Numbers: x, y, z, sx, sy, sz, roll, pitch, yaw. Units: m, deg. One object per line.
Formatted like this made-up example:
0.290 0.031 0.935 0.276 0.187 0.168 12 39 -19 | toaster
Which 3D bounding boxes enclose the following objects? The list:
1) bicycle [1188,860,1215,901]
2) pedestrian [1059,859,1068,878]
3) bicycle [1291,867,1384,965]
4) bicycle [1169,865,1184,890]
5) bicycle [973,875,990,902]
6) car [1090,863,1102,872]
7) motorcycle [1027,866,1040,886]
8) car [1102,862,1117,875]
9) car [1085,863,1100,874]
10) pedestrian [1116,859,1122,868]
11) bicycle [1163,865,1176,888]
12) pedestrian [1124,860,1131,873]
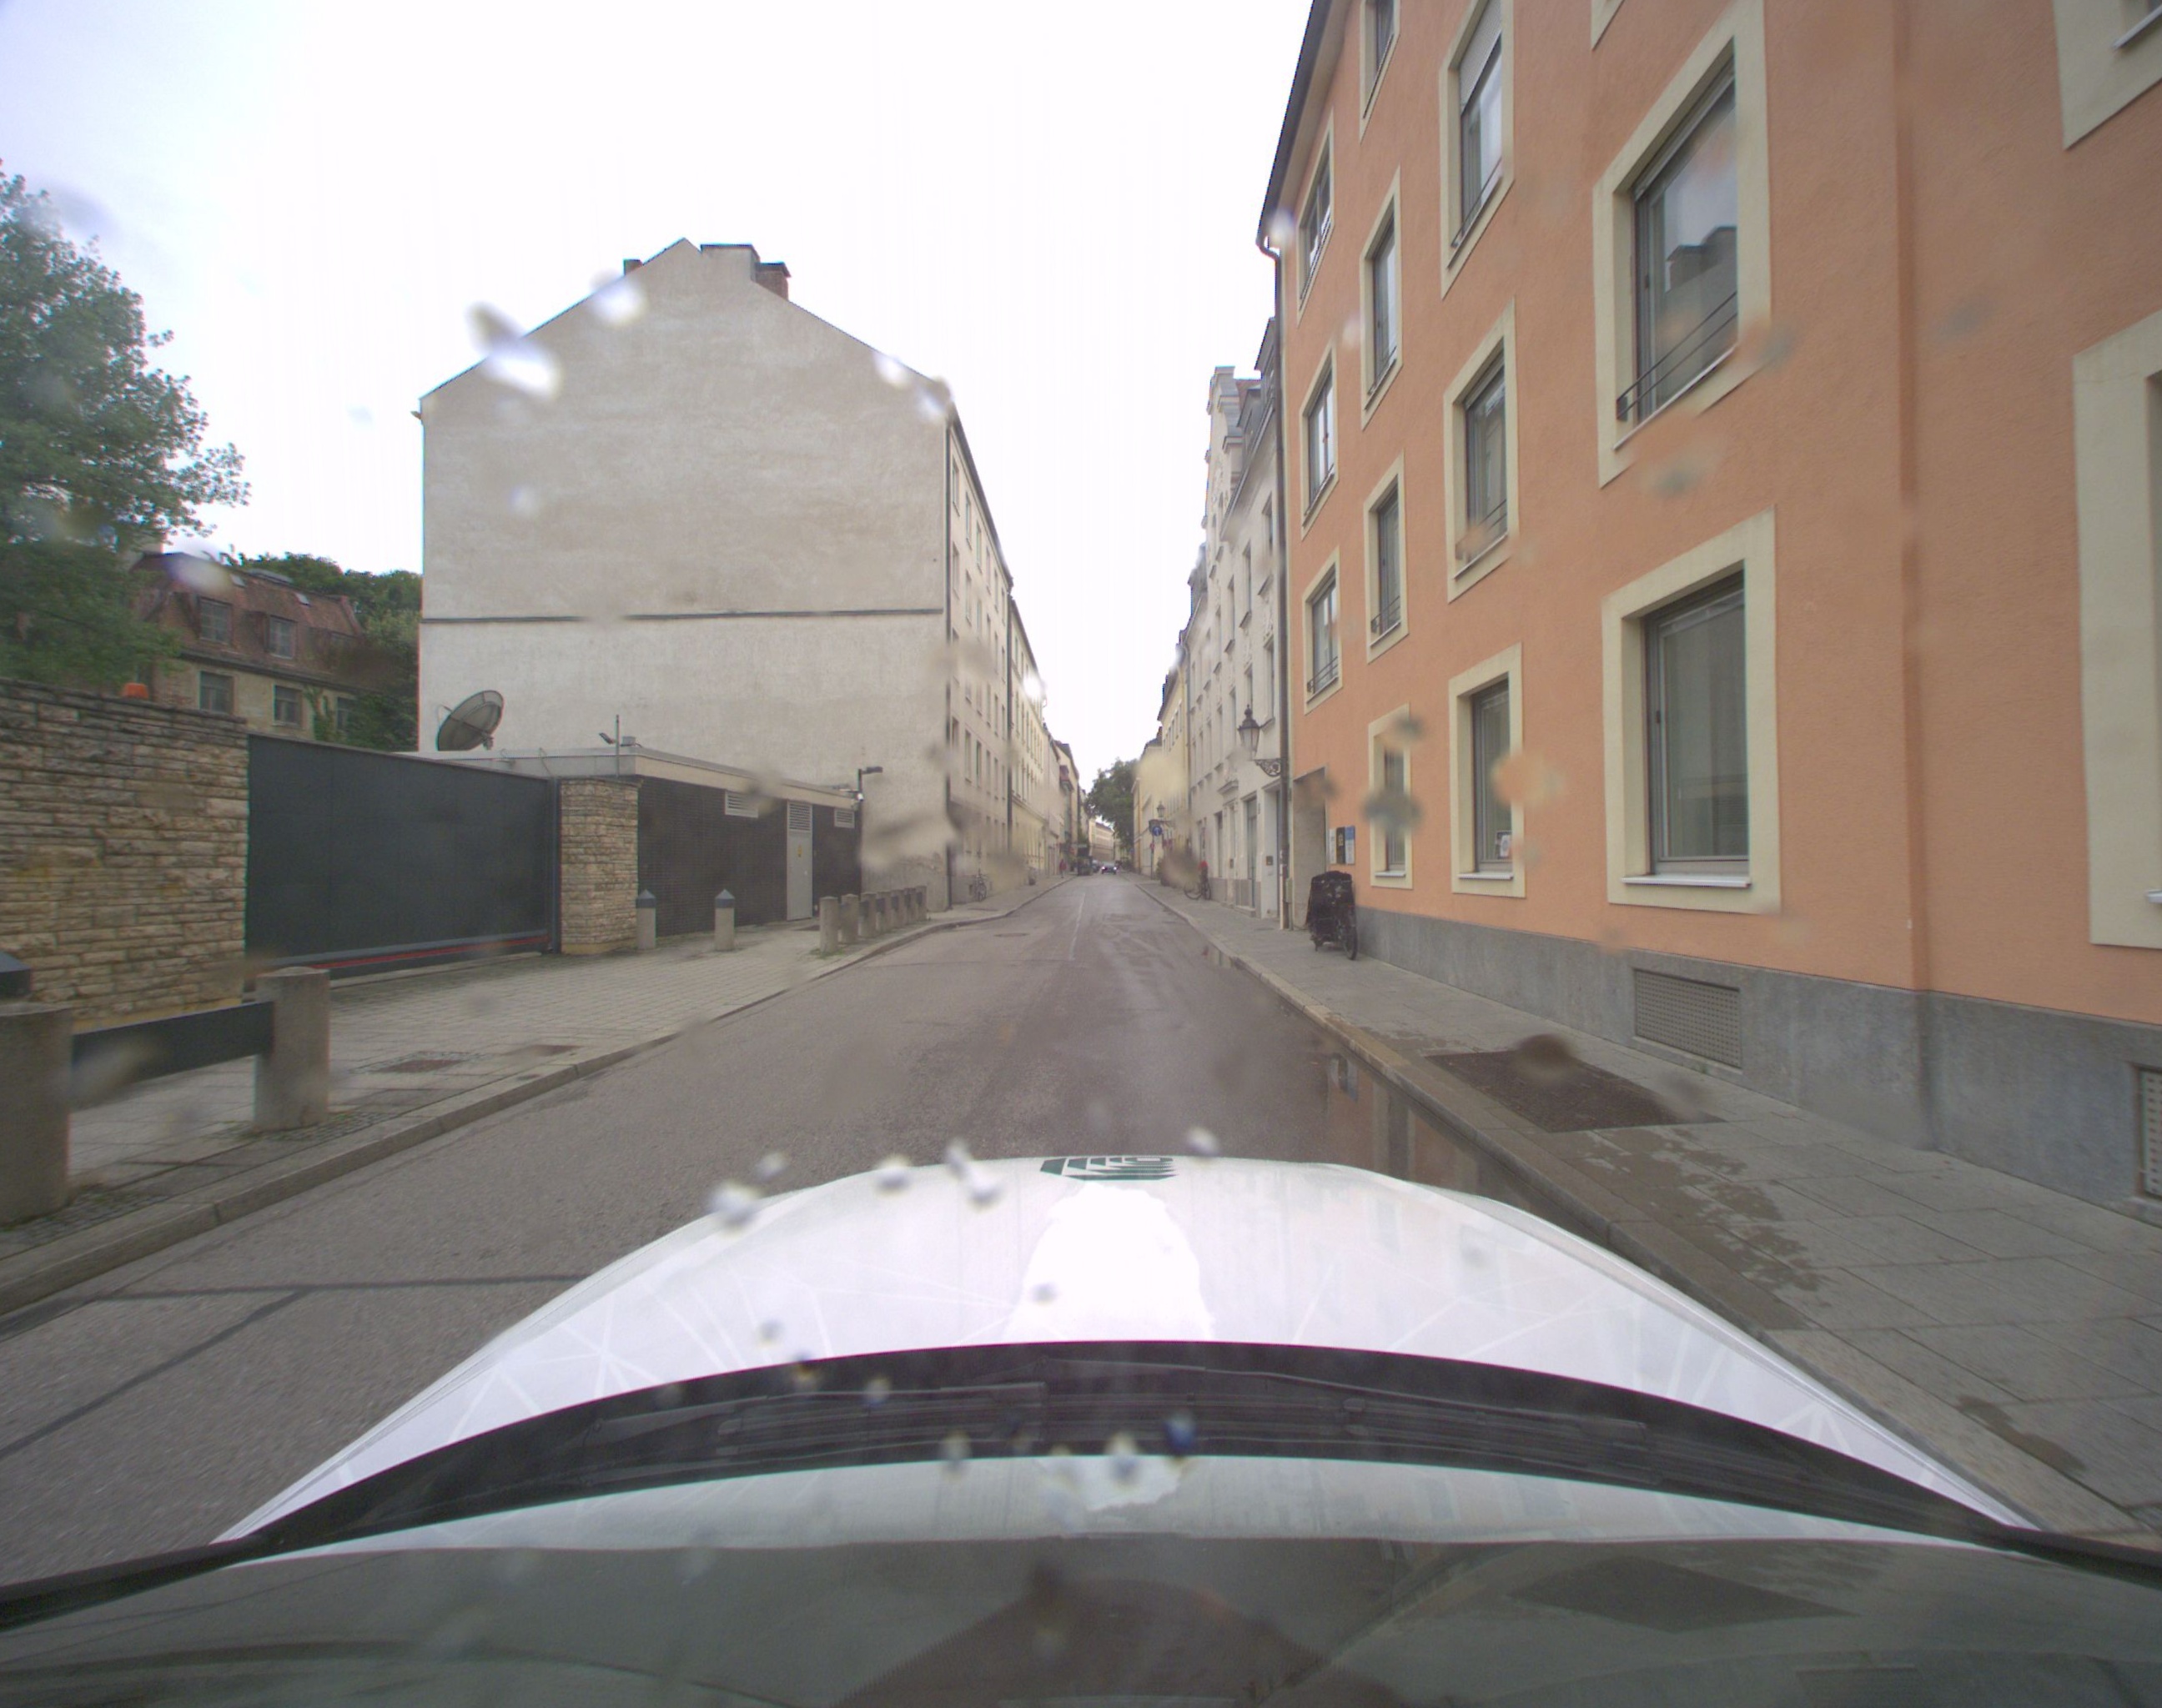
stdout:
4.290 0.928 29.146 0.710 1.396 2.124 -3 -1 4 | bicycle
-1.587 1.293 72.207 0.763 1.708 0.785 -1 -1 -1 | pedestrian
3.770 0.859 12.203 0.676 1.240 2.384 -5 0 3 | bicycle
4.695 1.154 40.265 0.563 1.137 1.989 -3 -1 3 | bicycle
-3.681 1.257 30.231 0.318 0.944 1.575 2 0 3 | bicycle
2.418 2.142 131.750 1.771 1.466 3.546 0 -1 4 | car
-2.814 1.311 48.446 0.600 1.174 1.709 0 -1 2 | motorcycle
3.499 1.805 100.945 1.806 1.594 4.000 0 -1 0 | car
1.640 2.032 111.543 1.771 1.466 3.667 0 -1 4 | car
7.178 1.820 153.629 1.011 1.802 1.350 0 -1 2 | pedestrian
4.609 1.181 42.449 0.563 1.137 1.685 -3 -1 3 | bicycle
6.080 1.630 106.316 0.877 1.802 1.047 0 -1 2 | pedestrian
